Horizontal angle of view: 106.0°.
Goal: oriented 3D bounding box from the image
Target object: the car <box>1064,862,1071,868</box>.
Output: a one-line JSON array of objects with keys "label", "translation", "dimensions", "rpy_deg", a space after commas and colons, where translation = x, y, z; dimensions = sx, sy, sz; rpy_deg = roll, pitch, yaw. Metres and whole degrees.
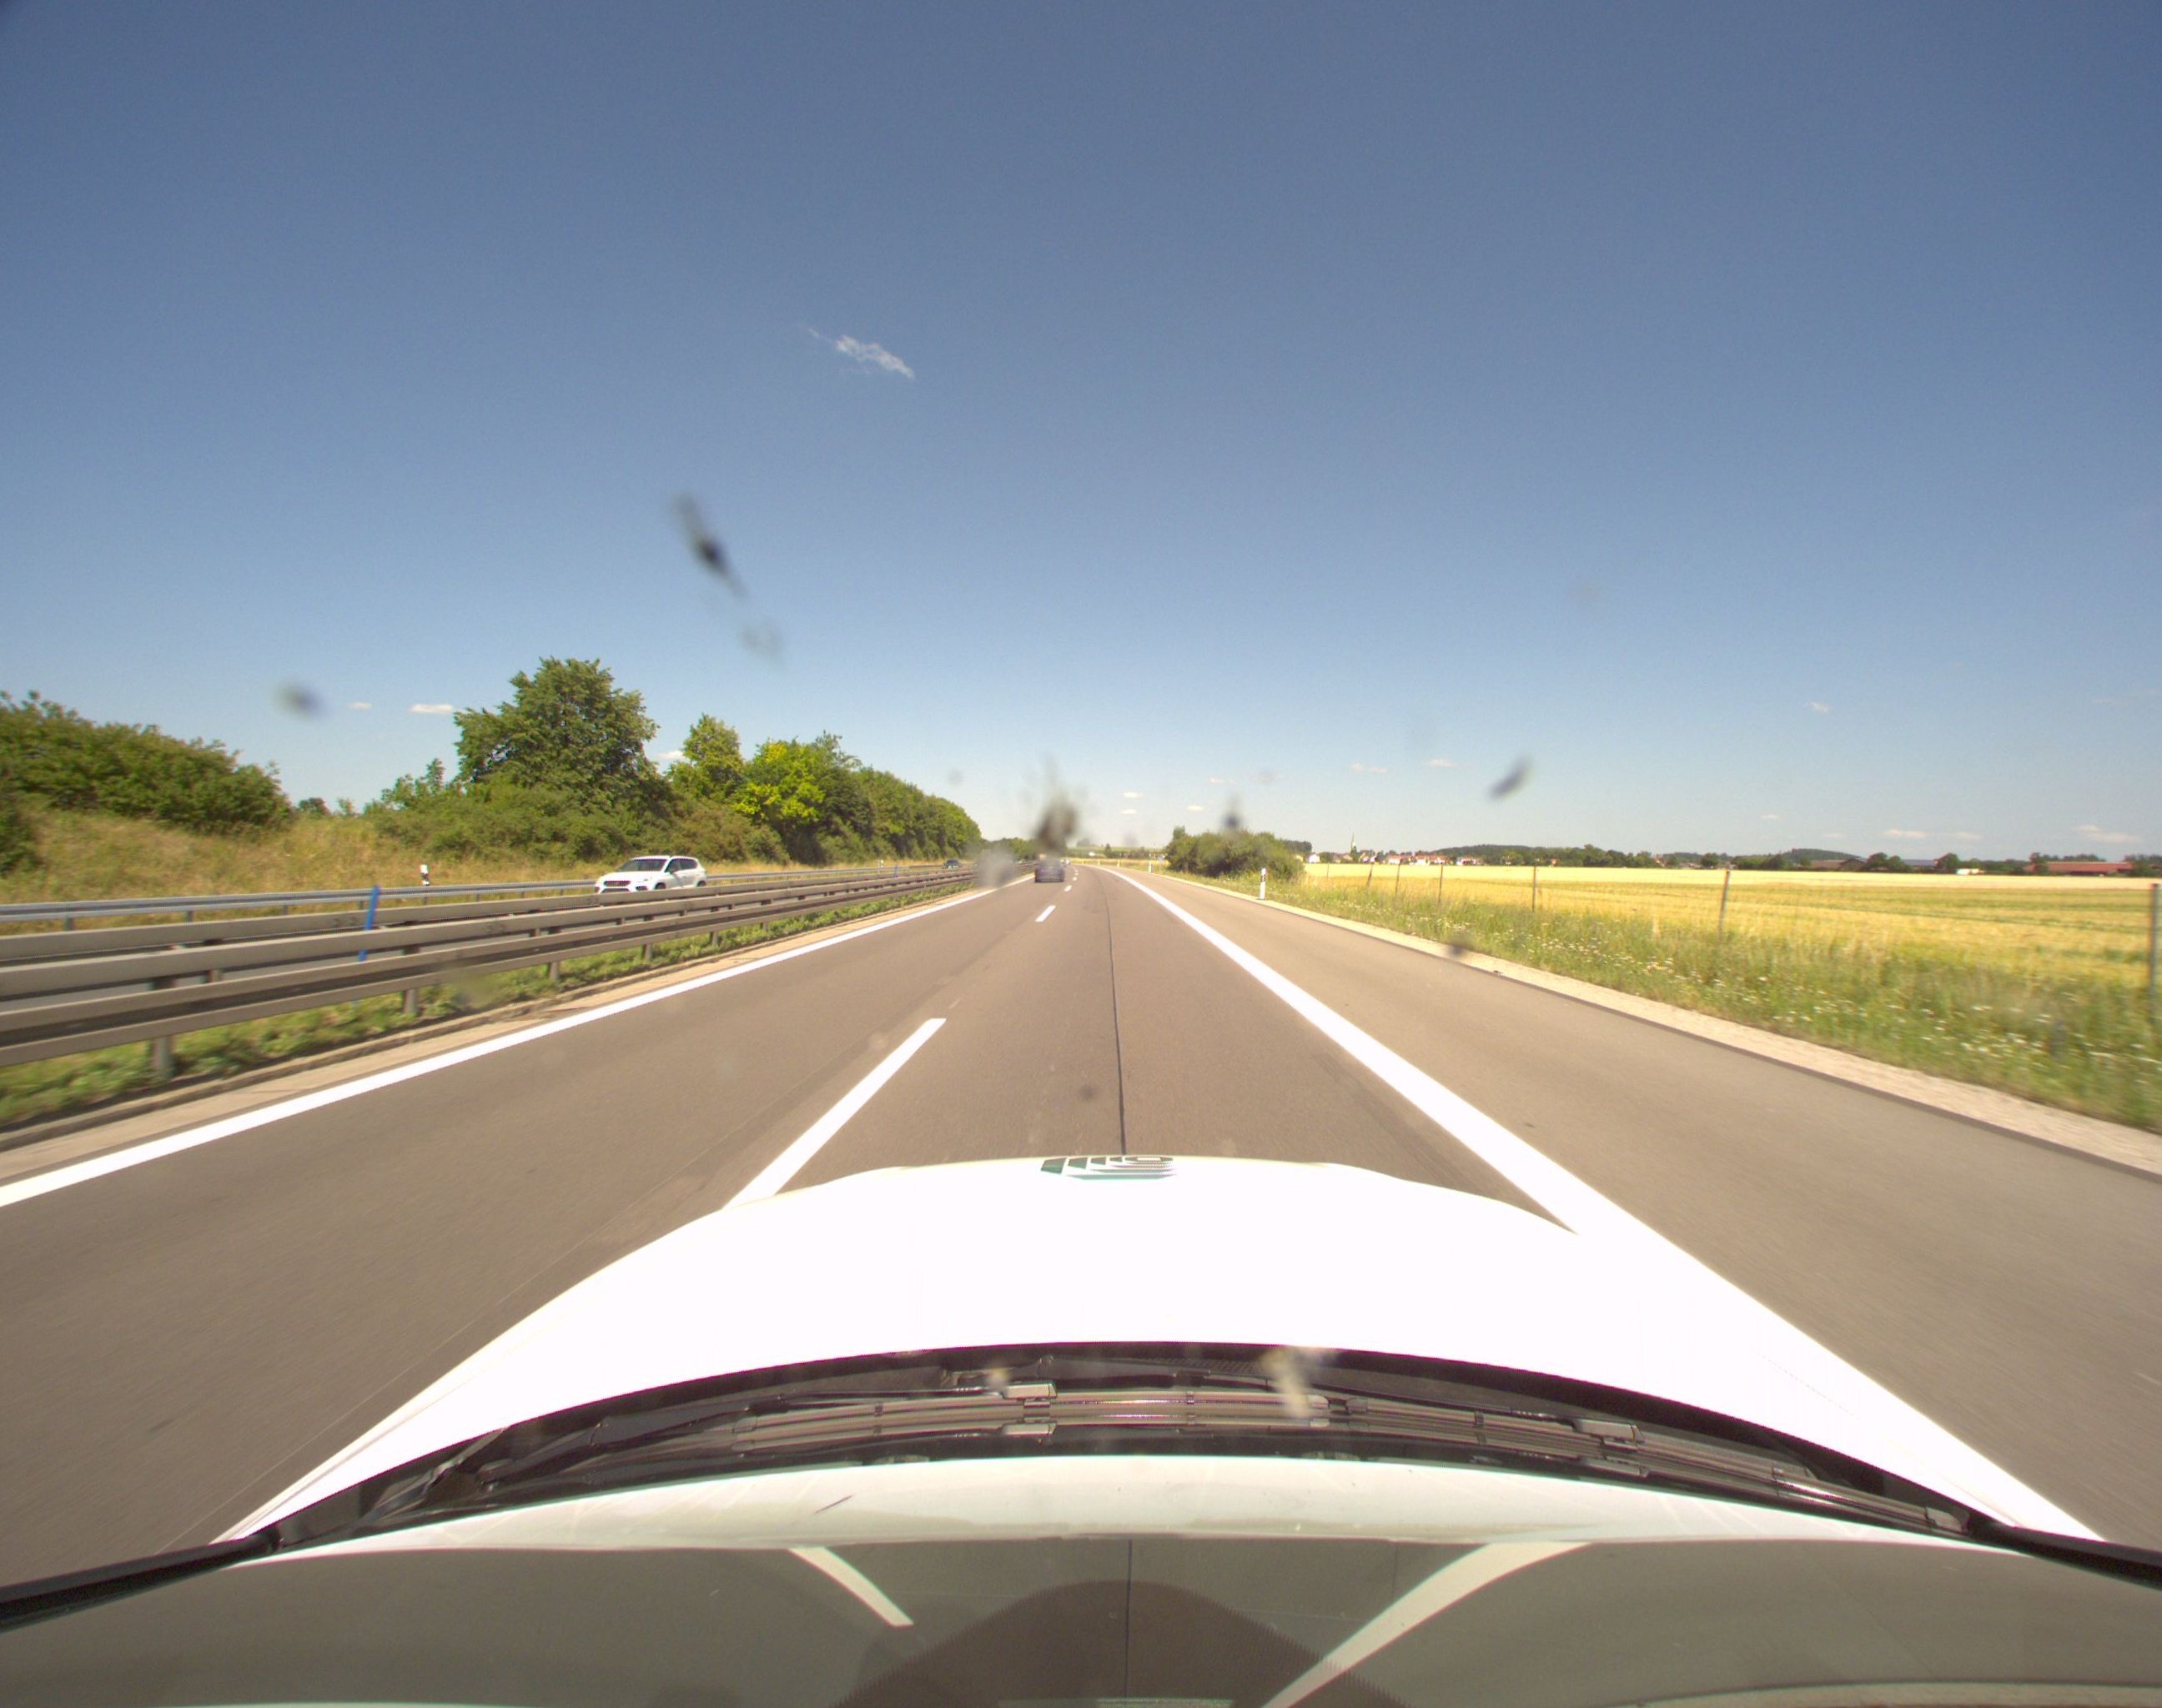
[{"label": "car", "translation": [-3.555, 2.731, 208.466], "dimensions": [1.672, 1.453, 3.588], "rpy_deg": [0, 0, -3]}]

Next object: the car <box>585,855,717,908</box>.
[{"label": "car", "translation": [-13.782, 0.821, 26.475], "dimensions": [1.745, 1.565, 4.581], "rpy_deg": [1, 0, 1]}]

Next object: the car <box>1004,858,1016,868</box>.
[{"label": "car", "translation": [-18.906, 2.298, 217.431], "dimensions": [2.537, 2.595, 6.589], "rpy_deg": [0, 0, -1]}]

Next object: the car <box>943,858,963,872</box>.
[{"label": "car", "translation": [-13.741, 1.175, 87.569], "dimensions": [1.573, 1.462, 4.151], "rpy_deg": [0, 0, -1]}]

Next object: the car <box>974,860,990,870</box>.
[{"label": "car", "translation": [-13.883, 1.503, 114.427], "dimensions": [1.657, 1.422, 3.999], "rpy_deg": [0, 0, 0]}]

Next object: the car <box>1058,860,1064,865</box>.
[{"label": "car", "translation": [-6.045, 2.554, 242.626], "dimensions": [1.673, 1.453, 3.586], "rpy_deg": [0, 0, -4]}]

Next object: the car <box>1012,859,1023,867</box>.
[{"label": "car", "translation": [-11.391, 1.640, 147.054], "dimensions": [1.657, 1.422, 3.999], "rpy_deg": [0, 0, 0]}]

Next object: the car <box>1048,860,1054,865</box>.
[{"label": "car", "translation": [-8.705, 2.400, 232.792], "dimensions": [1.672, 1.453, 3.588], "rpy_deg": [0, 0, -3]}]

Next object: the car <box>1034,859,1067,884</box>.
[{"label": "car", "translation": [-1.915, 1.091, 52.921], "dimensions": [1.841, 1.433, 5.866], "rpy_deg": [0, 0, 1]}]
